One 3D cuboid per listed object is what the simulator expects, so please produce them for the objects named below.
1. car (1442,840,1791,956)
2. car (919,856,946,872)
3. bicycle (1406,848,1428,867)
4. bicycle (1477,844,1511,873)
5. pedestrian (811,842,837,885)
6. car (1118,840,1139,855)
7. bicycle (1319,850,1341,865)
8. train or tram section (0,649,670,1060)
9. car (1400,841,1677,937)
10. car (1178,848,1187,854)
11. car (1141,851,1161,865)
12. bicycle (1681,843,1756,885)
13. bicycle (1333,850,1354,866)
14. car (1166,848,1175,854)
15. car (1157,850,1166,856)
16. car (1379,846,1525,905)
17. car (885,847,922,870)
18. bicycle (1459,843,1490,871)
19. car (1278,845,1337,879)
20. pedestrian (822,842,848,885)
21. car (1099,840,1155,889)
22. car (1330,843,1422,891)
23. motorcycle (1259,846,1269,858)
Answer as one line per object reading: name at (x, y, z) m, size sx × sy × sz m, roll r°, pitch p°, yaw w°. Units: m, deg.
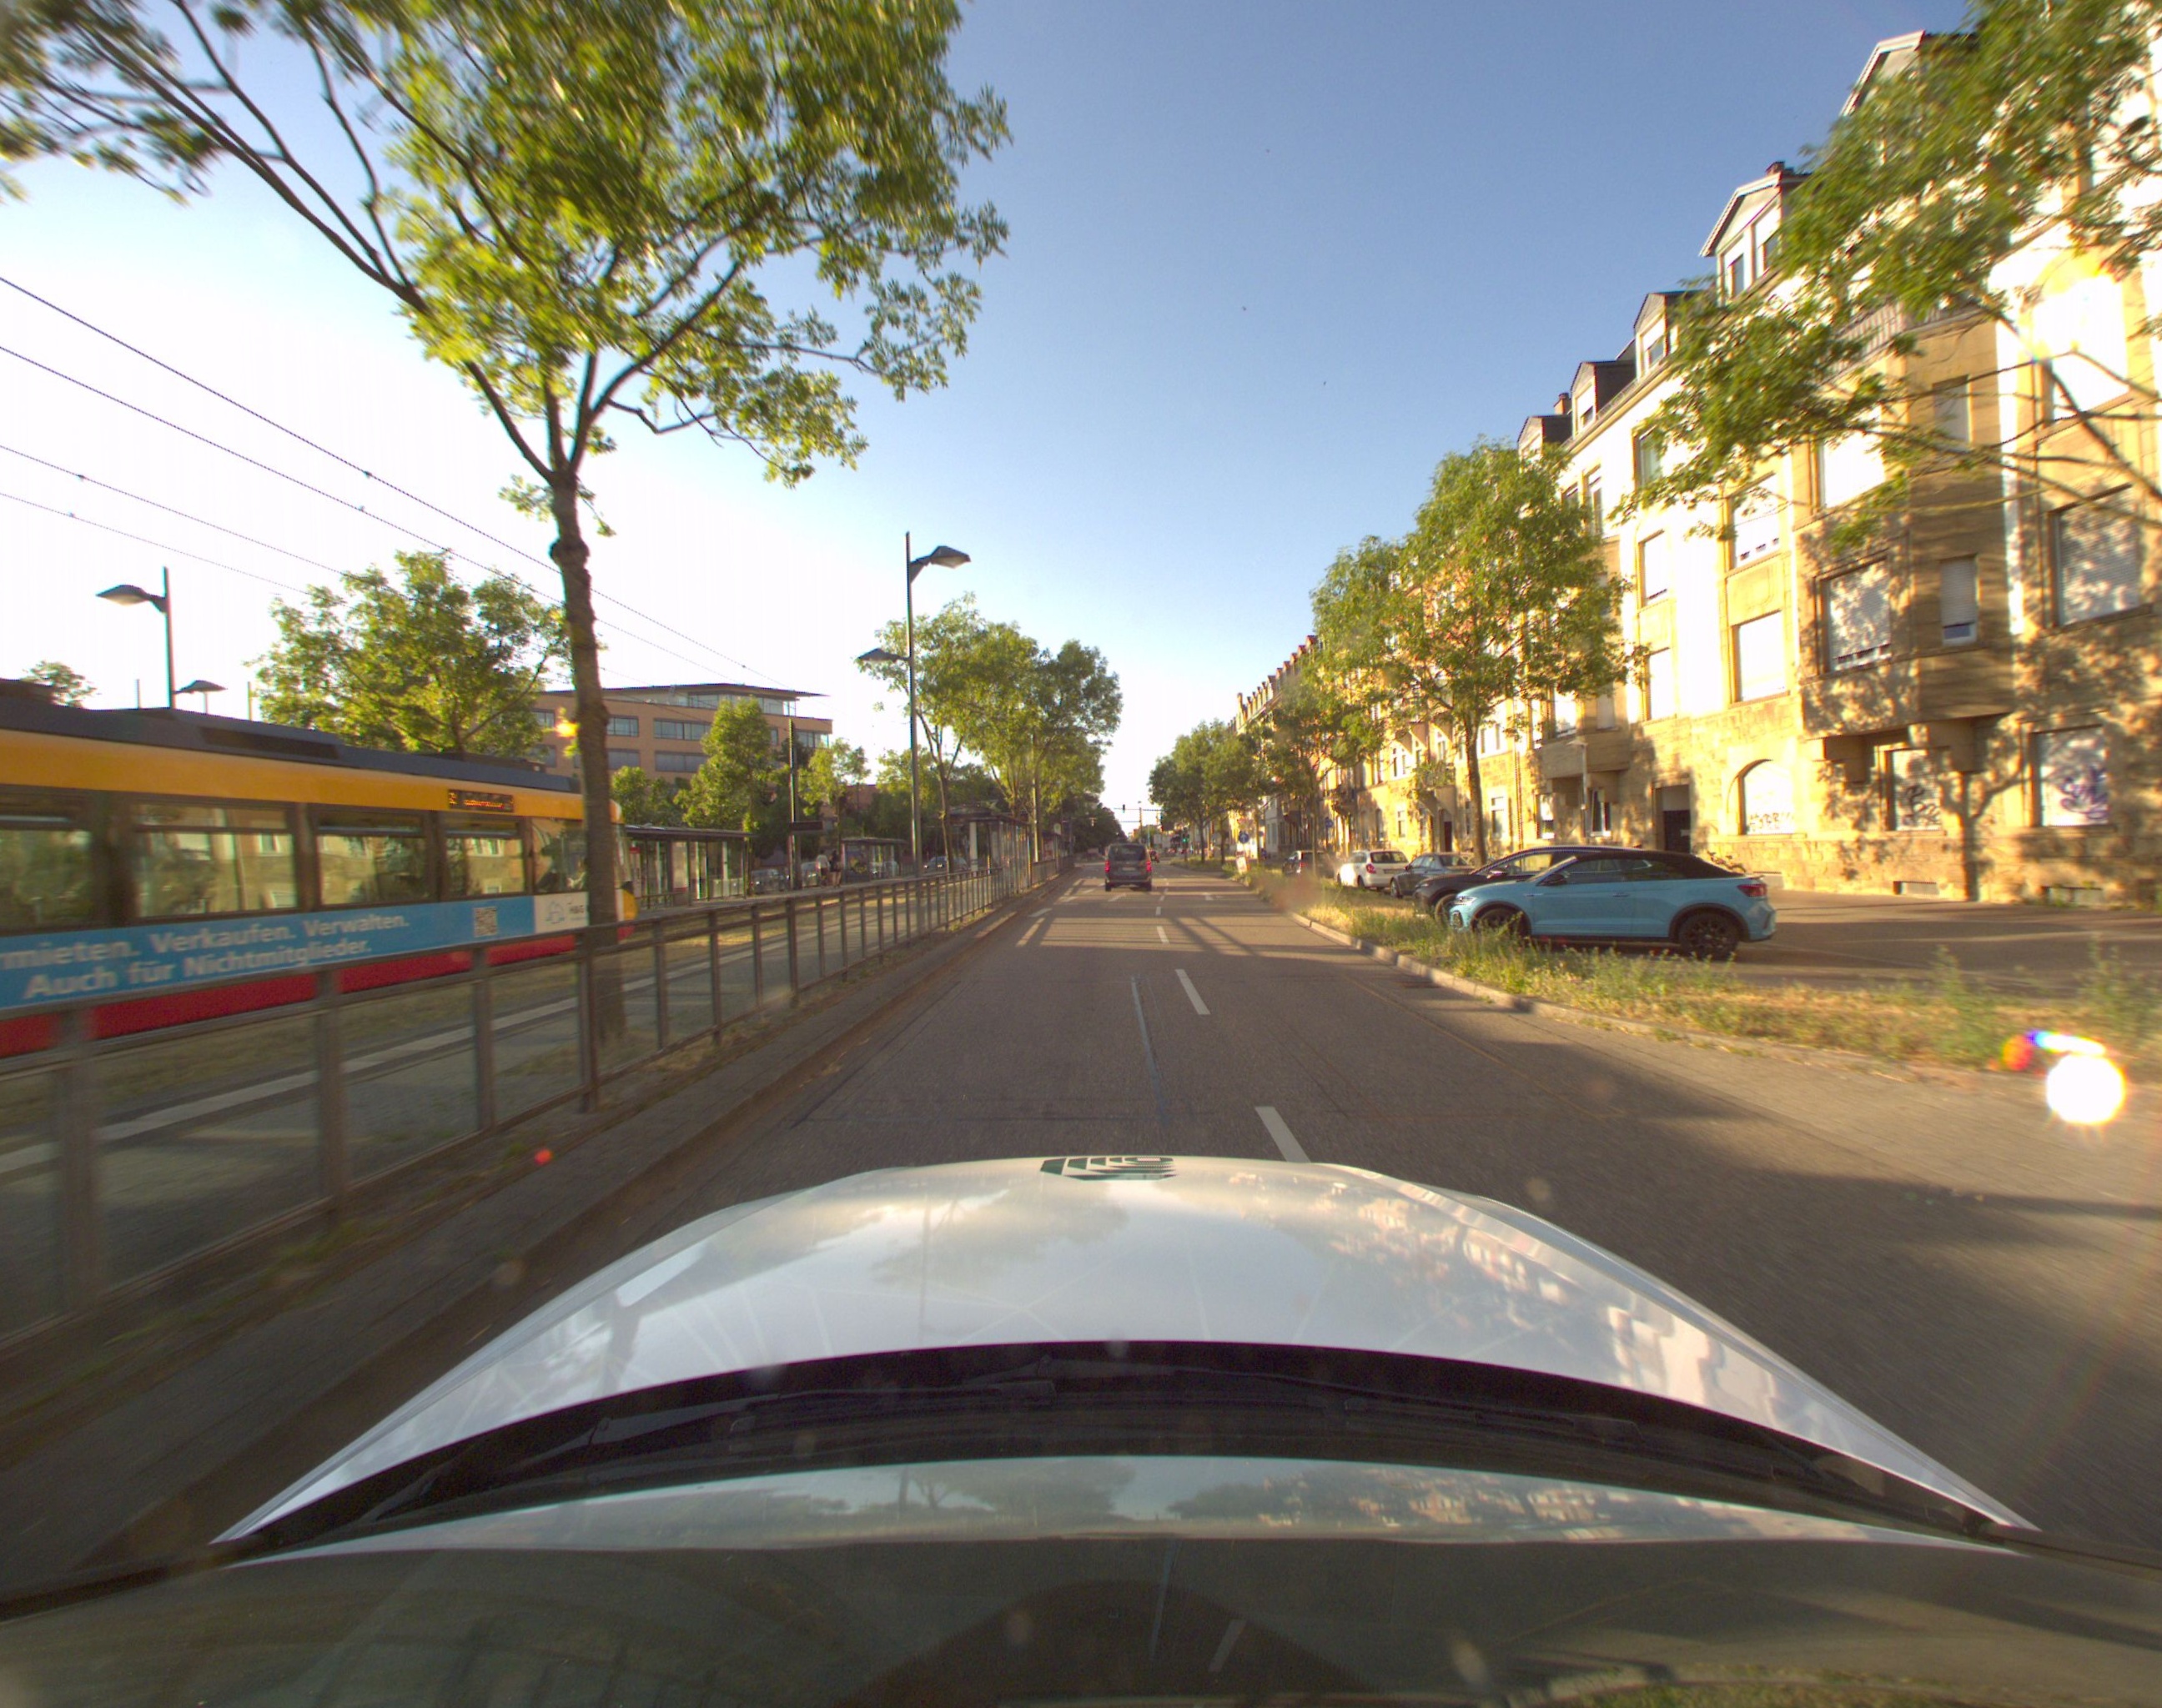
car at (8.106, 0.610, 12.691) m, size 4.232 × 1.522 × 1.859 m, roll -1°, pitch 0°, yaw 34°
car at (-14.502, 0.955, 79.623) m, size 1.788 × 1.415 × 4.342 m, roll -1°, pitch 0°, yaw 1°
bicycle at (17.819, 0.172, 43.205) m, size 0.481 × 1.005 × 1.747 m, roll -2°, pitch 0°, yaw 2°
bicycle at (17.587, 0.177, 34.681) m, size 0.481 × 1.165 × 1.747 m, roll -7°, pitch 0°, yaw 2°
pedestrian at (-12.503, 0.448, 39.588) m, size 0.766 × 2.013 × 1.128 m, roll -2°, pitch 0°, yaw 4°
car at (5.079, -0.660, 87.630) m, size 1.988 × 1.510 × 3.998 m, roll -1°, pitch 0°, yaw -1°
bicycle at (16.567, 0.229, 54.205) m, size 0.868 × 0.916 × 2.086 m, roll -4°, pitch 0°, yaw 3°
train or tram section at (-10.370, 0.051, 9.694) m, size 3.418 × 3.339 × 13.863 m, roll -2°, pitch 0°, yaw 2°
car at (8.450, 0.558, 15.317) m, size 4.286 × 1.571 × 2.014 m, roll 0°, pitch 1°, yaw 31°
car at (27.046, -0.827, 216.889) m, size 1.985 × 1.656 × 4.303 m, roll -2°, pitch 0°, yaw 3°
car at (8.082, 0.436, 94.268) m, size 1.986 × 1.510 × 4.002 m, roll -1°, pitch 0°, yaw 2°
bicycle at (17.333, 0.257, 22.194) m, size 0.570 × 1.073 × 1.897 m, roll -3°, pitch 0°, yaw 2°
bicycle at (16.614, 0.214, 51.646) m, size 0.730 × 0.948 × 2.343 m, roll -3°, pitch 0°, yaw 5°
car at (24.289, -0.862, 220.673) m, size 1.987 × 1.656 × 4.297 m, roll -2°, pitch 0°, yaw -1°
car at (21.858, -0.330, 220.836) m, size 1.987 × 1.656 × 4.297 m, roll -2°, pitch 0°, yaw -1°
car at (10.136, 0.525, 22.720) m, size 1.938 × 1.444 × 4.910 m, roll 0°, pitch 0°, yaw 1°
car at (-13.943, 0.323, 64.292) m, size 1.852 × 1.653 × 4.002 m, roll -2°, pitch 0°, yaw 2°
bicycle at (17.654, 0.123, 36.584) m, size 0.481 × 1.165 × 1.747 m, roll -7°, pitch 0°, yaw 2°
car at (10.418, 0.350, 37.721) m, size 1.697 × 1.448 × 4.291 m, roll 1°, pitch 0°, yaw 2°
pedestrian at (-11.748, 0.442, 38.950) m, size 0.766 × 2.013 × 1.128 m, roll -2°, pitch 0°, yaw 4°
car at (1.957, 0.396, 33.461) m, size 1.983 × 1.900 × 4.308 m, roll 0°, pitch 0°, yaw 7°
car at (10.107, 0.405, 28.257) m, size 1.719 × 1.512 × 4.273 m, roll 1°, pitch 0°, yaw 1°
motorcycle at (18.730, -0.202, 83.390) m, size 0.552 × 1.214 × 2.072 m, roll -1°, pitch 0°, yaw 0°
